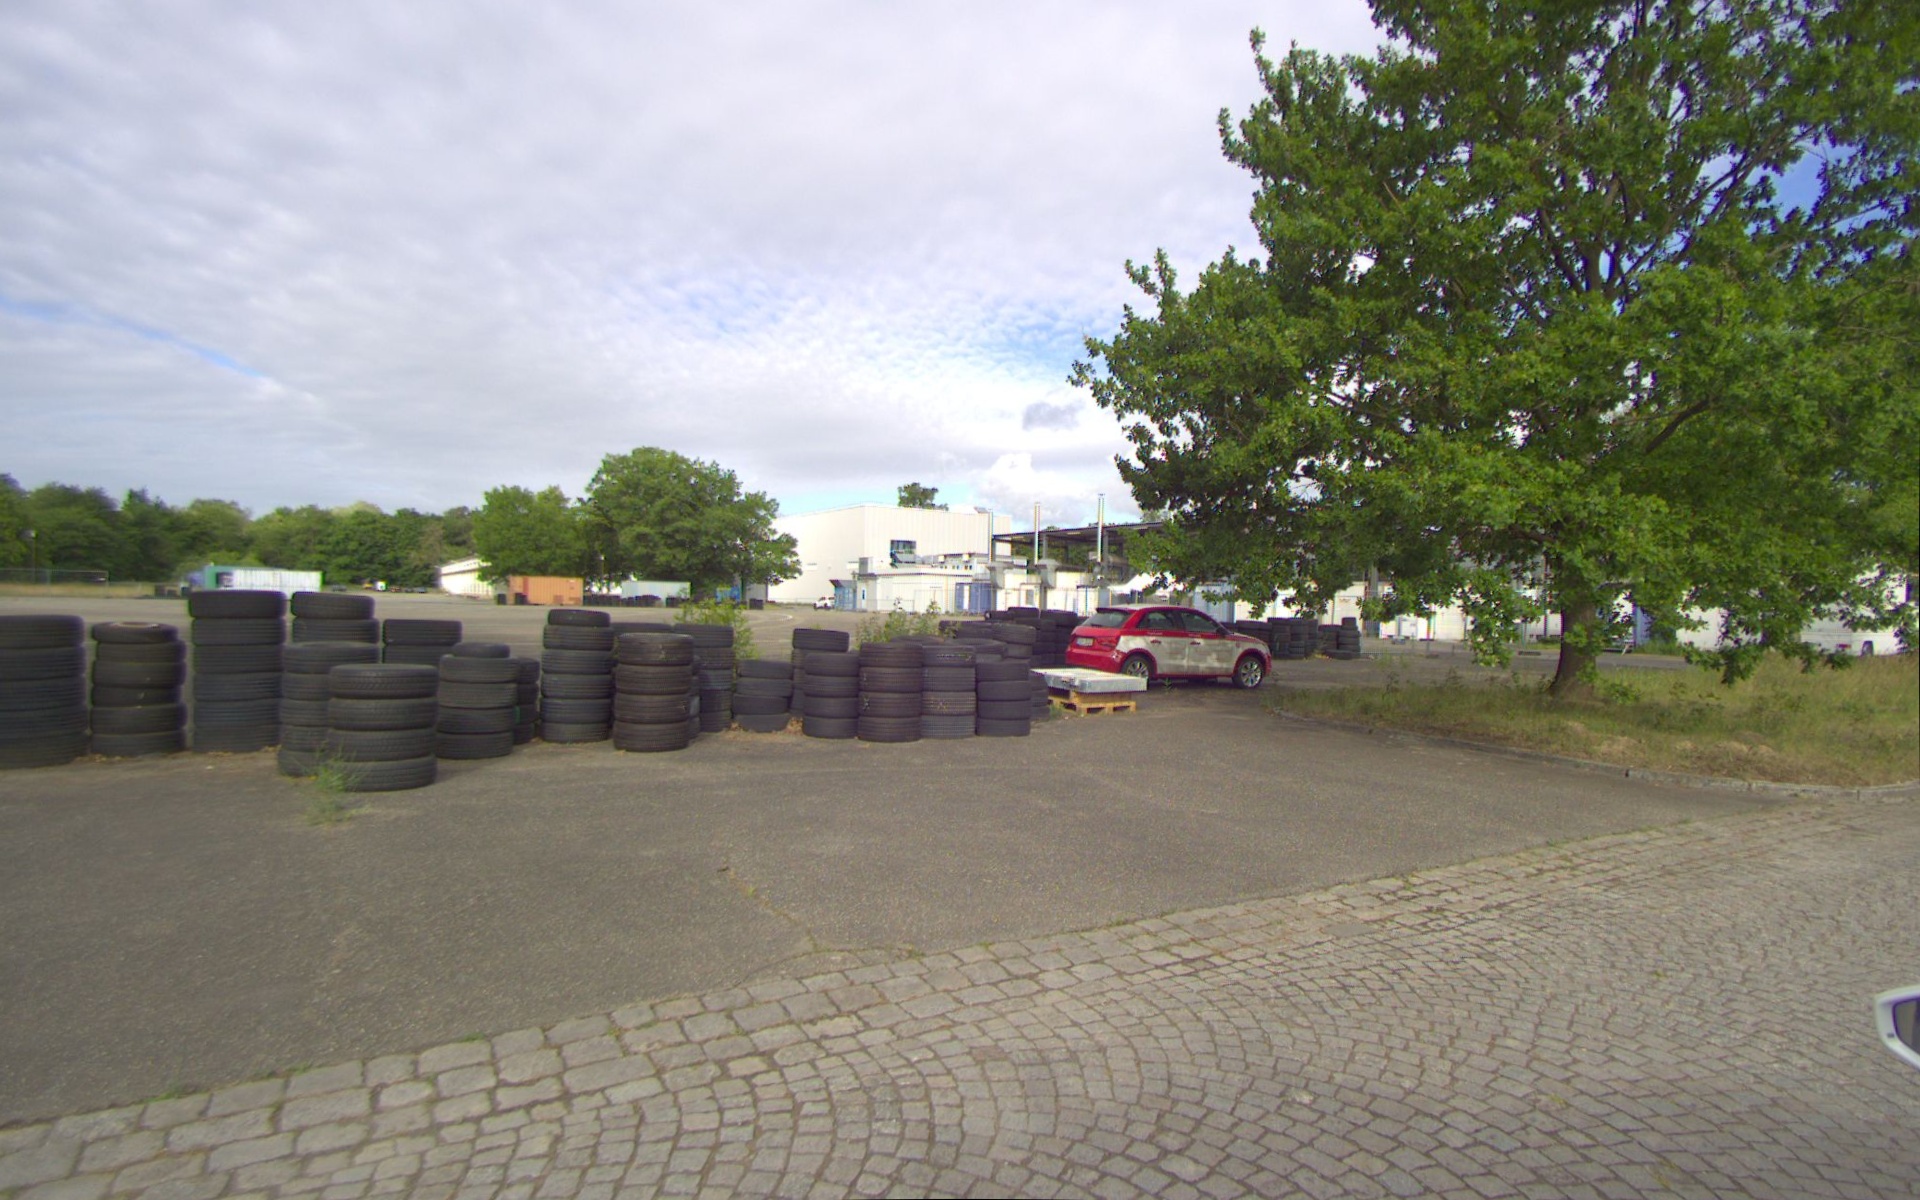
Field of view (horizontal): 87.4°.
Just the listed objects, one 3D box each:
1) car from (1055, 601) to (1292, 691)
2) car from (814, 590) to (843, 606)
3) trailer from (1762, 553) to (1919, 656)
[{"bbox_3d":[3.847,0.774,18.022,4.009,1.453,1.620,1,0,-26],"label":"car"},{"bbox_3d":[-14.700,-0.241,112.181,1.809,1.655,4.085,1,1,-30],"label":"car"},{"bbox_3d":[35.297,0.249,39.167,10.053,3.646,2.614,1,0,-29],"label":"trailer"}]
